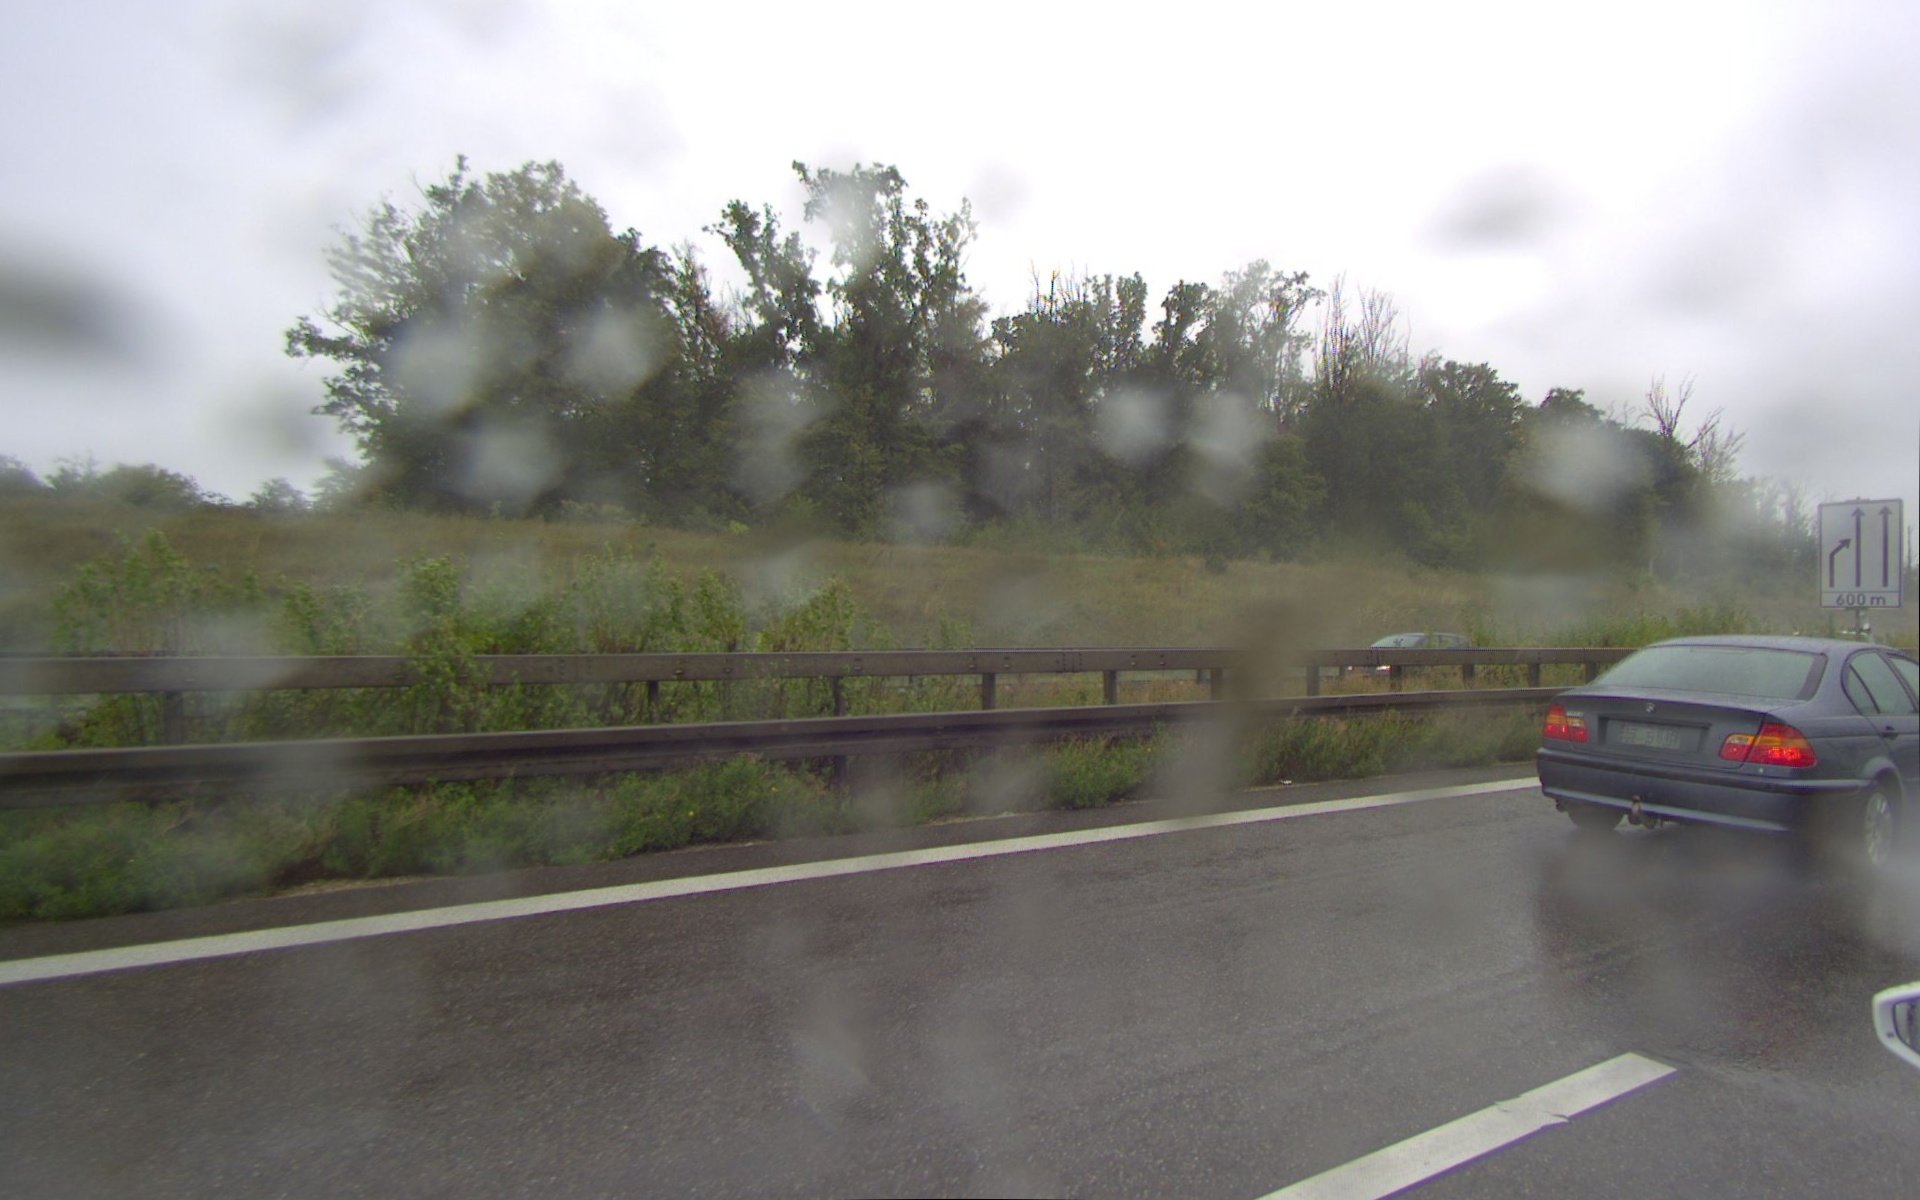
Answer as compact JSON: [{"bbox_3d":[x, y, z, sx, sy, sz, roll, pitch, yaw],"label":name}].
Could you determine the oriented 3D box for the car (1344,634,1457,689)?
[{"bbox_3d":[11.386,1.570,25.916,2.862,1.332,1.244,2,-1,-31],"label":"car"}]

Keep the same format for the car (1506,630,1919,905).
[{"bbox_3d":[5.916,0.953,7.159,4.182,1.418,1.709,1,-1,-32],"label":"car"}]
